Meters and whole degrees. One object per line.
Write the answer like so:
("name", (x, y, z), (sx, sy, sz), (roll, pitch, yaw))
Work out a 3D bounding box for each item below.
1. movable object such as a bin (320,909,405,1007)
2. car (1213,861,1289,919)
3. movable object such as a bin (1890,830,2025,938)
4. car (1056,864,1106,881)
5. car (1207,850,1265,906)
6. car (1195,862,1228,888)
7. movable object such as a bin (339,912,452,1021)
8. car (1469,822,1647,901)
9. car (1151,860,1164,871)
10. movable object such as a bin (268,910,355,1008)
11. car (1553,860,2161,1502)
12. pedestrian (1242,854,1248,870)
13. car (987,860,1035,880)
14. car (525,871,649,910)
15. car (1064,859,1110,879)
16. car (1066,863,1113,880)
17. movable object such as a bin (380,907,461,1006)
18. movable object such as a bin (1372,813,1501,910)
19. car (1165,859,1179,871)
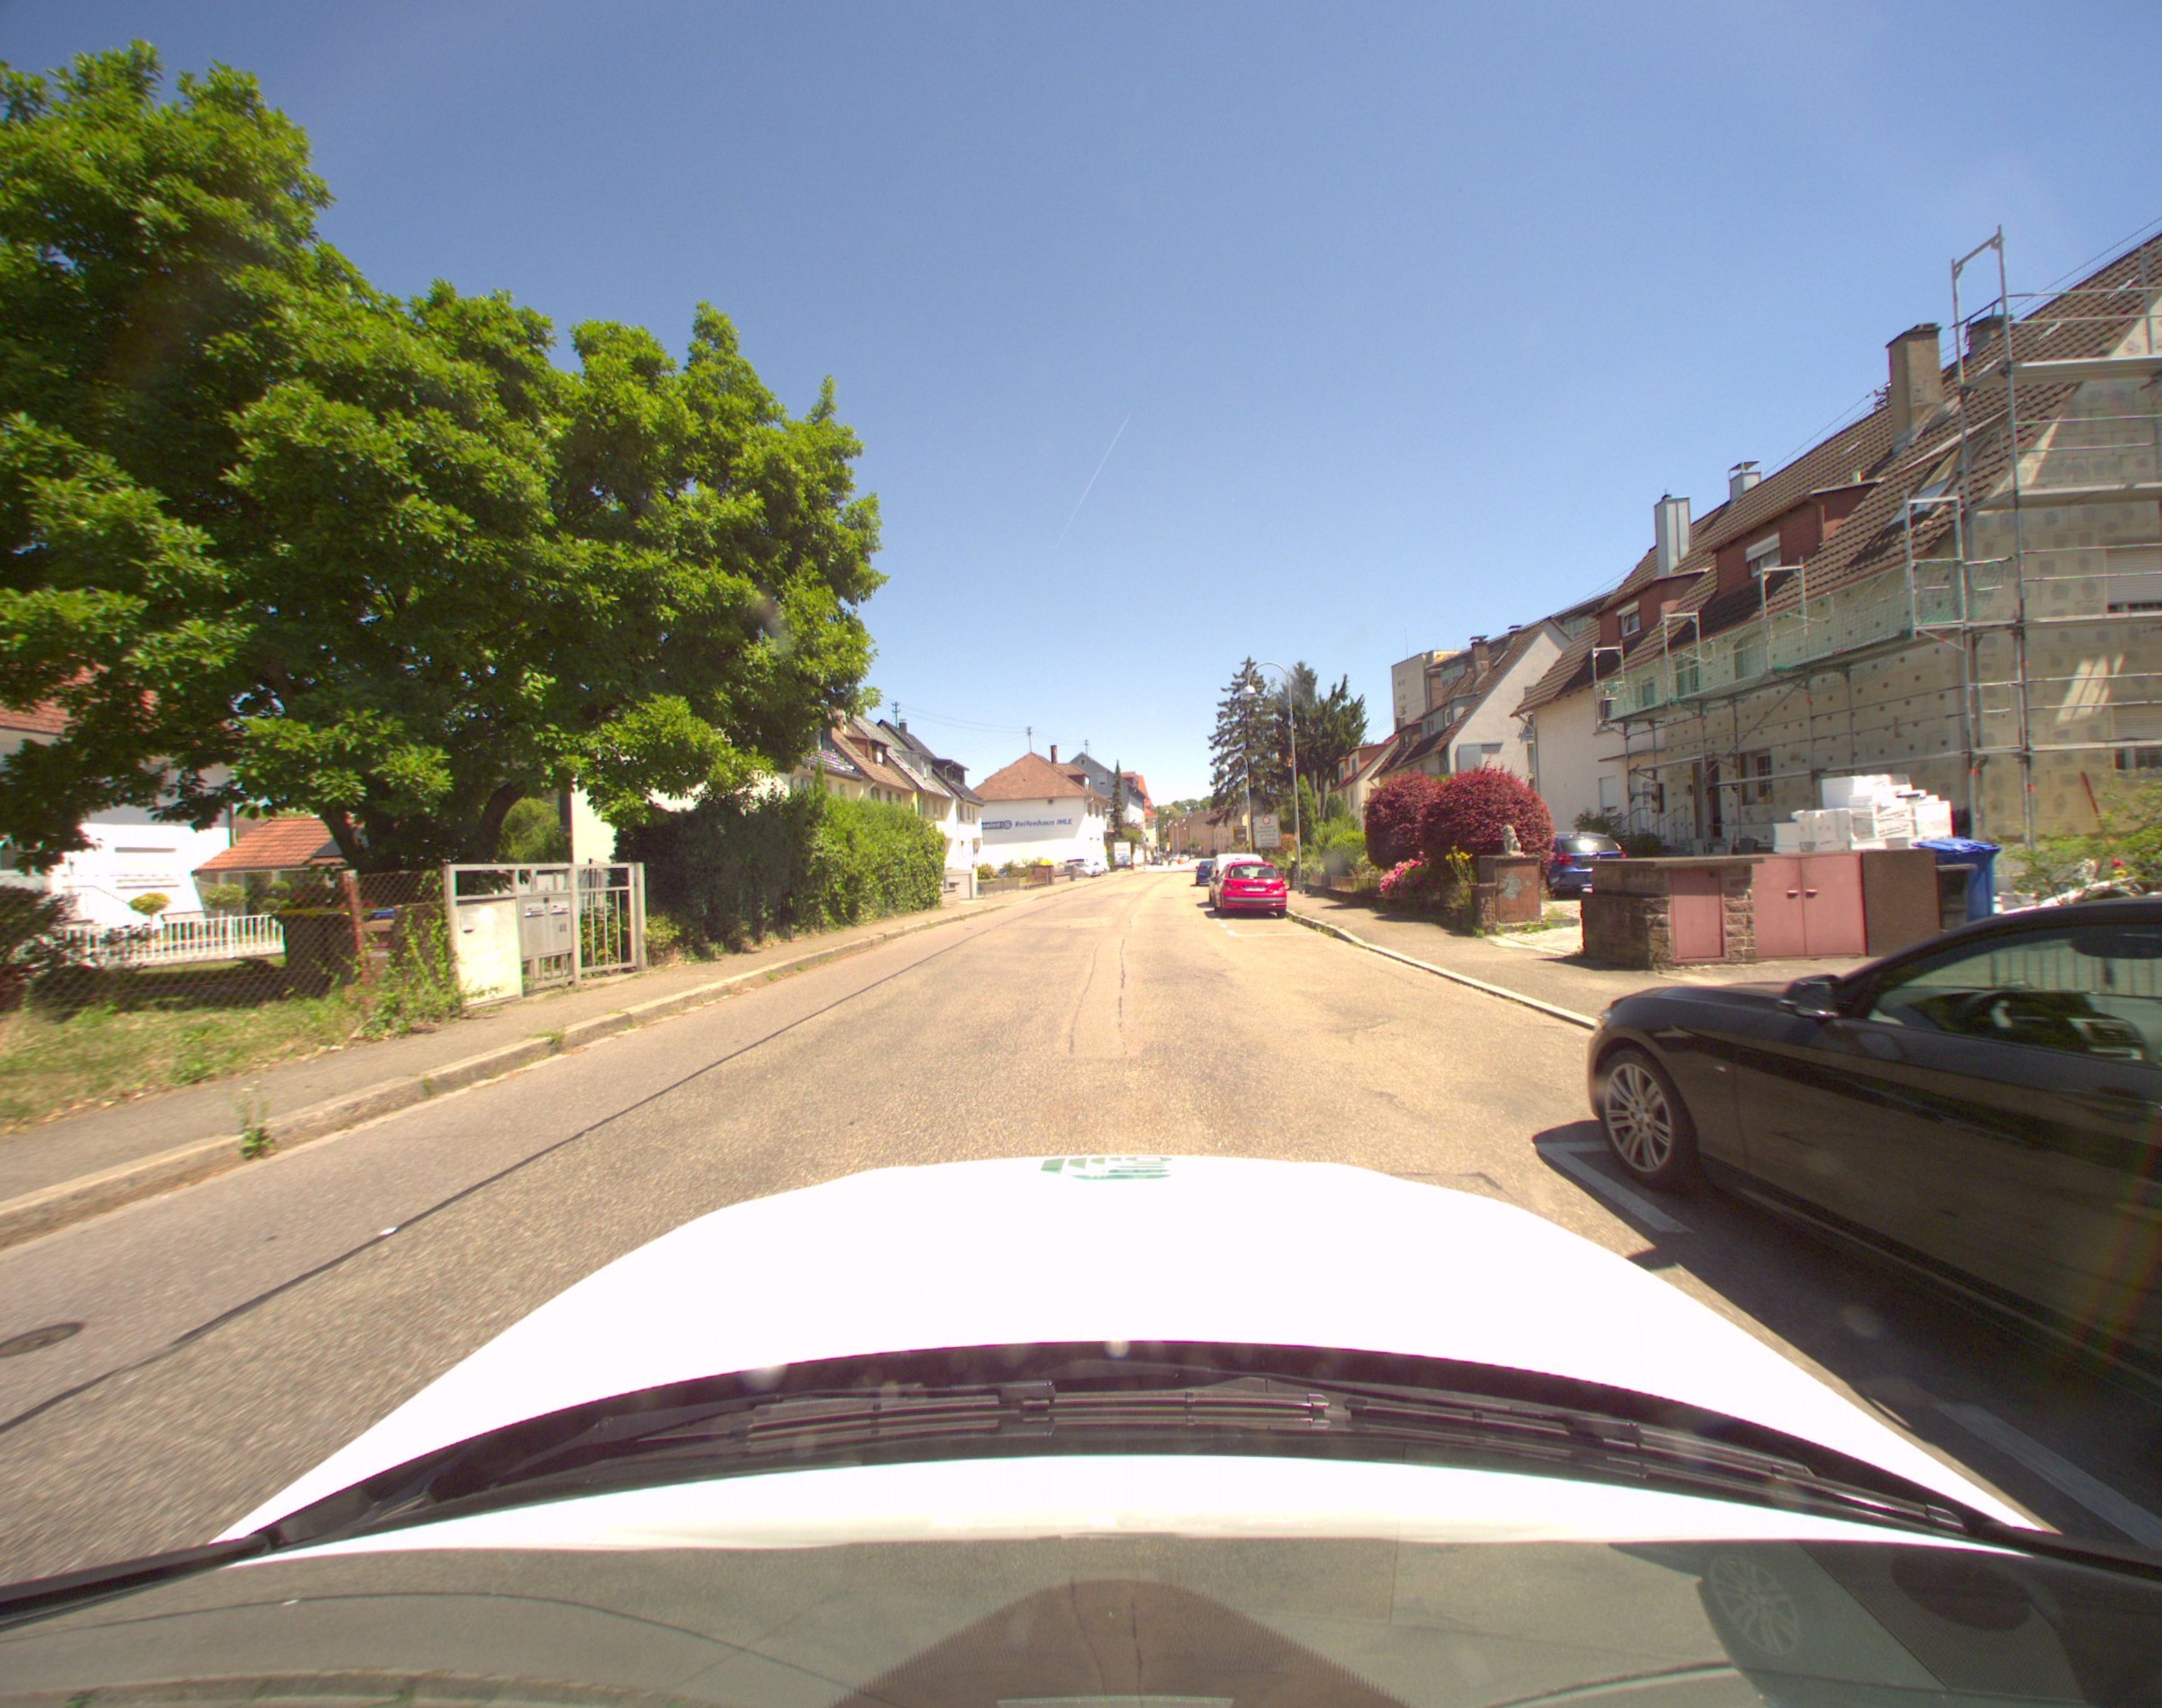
("movable object such as a bin", (-7.883, 1.128, 8.949), (0.465, 1.009, 0.506), (-1, -1, 1))
("car", (4.616, 0.935, 22.594), (1.655, 1.455, 4.006), (-1, -1, 6))
("movable object such as a bin", (10.890, 0.367, 10.153), (0.754, 1.218, 0.750), (-6, -1, 8))
("car", (-0.009, 1.624, 71.840), (4.089, 1.344, 1.923), (-2, 0, 42))
("car", (5.168, 0.802, 27.597), (1.655, 1.755, 4.007), (0, -1, 7))
("car", (7.445, 1.180, 46.574), (1.768, 1.405, 4.297), (0, 0, 9))
("movable object such as a bin", (-6.803, 1.104, 8.102), (0.705, 0.996, 0.473), (-2, -1, -1))
("car", (10.822, 0.153, 18.858), (1.787, 1.510, 4.002), (-4, 0, 2))
("car", (11.939, 1.715, 126.827), (1.747, 1.656, 4.009), (-2, -1, 8))
("movable object such as a bin", (-8.452, 1.139, 8.961), (0.465, 1.009, 0.506), (-1, -1, 1))
("car", (3.246, 0.736, 2.251), (1.650, 1.398, 4.002), (-2, -1, 2))
("pedestrian", (18.743, 0.896, 93.046), (0.683, 1.771, 0.694), (-1, -2, 15))
("car", (-5.758, 1.336, 66.682), (3.950, 1.510, 1.811), (-2, 0, 44))
("car", (-20.362, 1.491, 33.713), (3.978, 1.510, 1.798), (-1, -1, -4))
("car", (0.578, 1.399, 77.243), (4.110, 1.774, 1.831), (-2, 0, 4))
("car", (0.794, 1.570, 74.801), (4.106, 1.394, 1.832), (-2, 0, 7))
("movable object such as a bin", (-7.231, 1.108, 8.929), (0.465, 1.009, 0.506), (-1, -1, 1))
("movable object such as a bin", (10.627, 0.223, 24.524), (3.132, 2.747, 1.709), (-1, -1, 3))
("car", (13.223, 1.621, 118.137), (1.747, 1.656, 4.009), (-2, 0, 8))
